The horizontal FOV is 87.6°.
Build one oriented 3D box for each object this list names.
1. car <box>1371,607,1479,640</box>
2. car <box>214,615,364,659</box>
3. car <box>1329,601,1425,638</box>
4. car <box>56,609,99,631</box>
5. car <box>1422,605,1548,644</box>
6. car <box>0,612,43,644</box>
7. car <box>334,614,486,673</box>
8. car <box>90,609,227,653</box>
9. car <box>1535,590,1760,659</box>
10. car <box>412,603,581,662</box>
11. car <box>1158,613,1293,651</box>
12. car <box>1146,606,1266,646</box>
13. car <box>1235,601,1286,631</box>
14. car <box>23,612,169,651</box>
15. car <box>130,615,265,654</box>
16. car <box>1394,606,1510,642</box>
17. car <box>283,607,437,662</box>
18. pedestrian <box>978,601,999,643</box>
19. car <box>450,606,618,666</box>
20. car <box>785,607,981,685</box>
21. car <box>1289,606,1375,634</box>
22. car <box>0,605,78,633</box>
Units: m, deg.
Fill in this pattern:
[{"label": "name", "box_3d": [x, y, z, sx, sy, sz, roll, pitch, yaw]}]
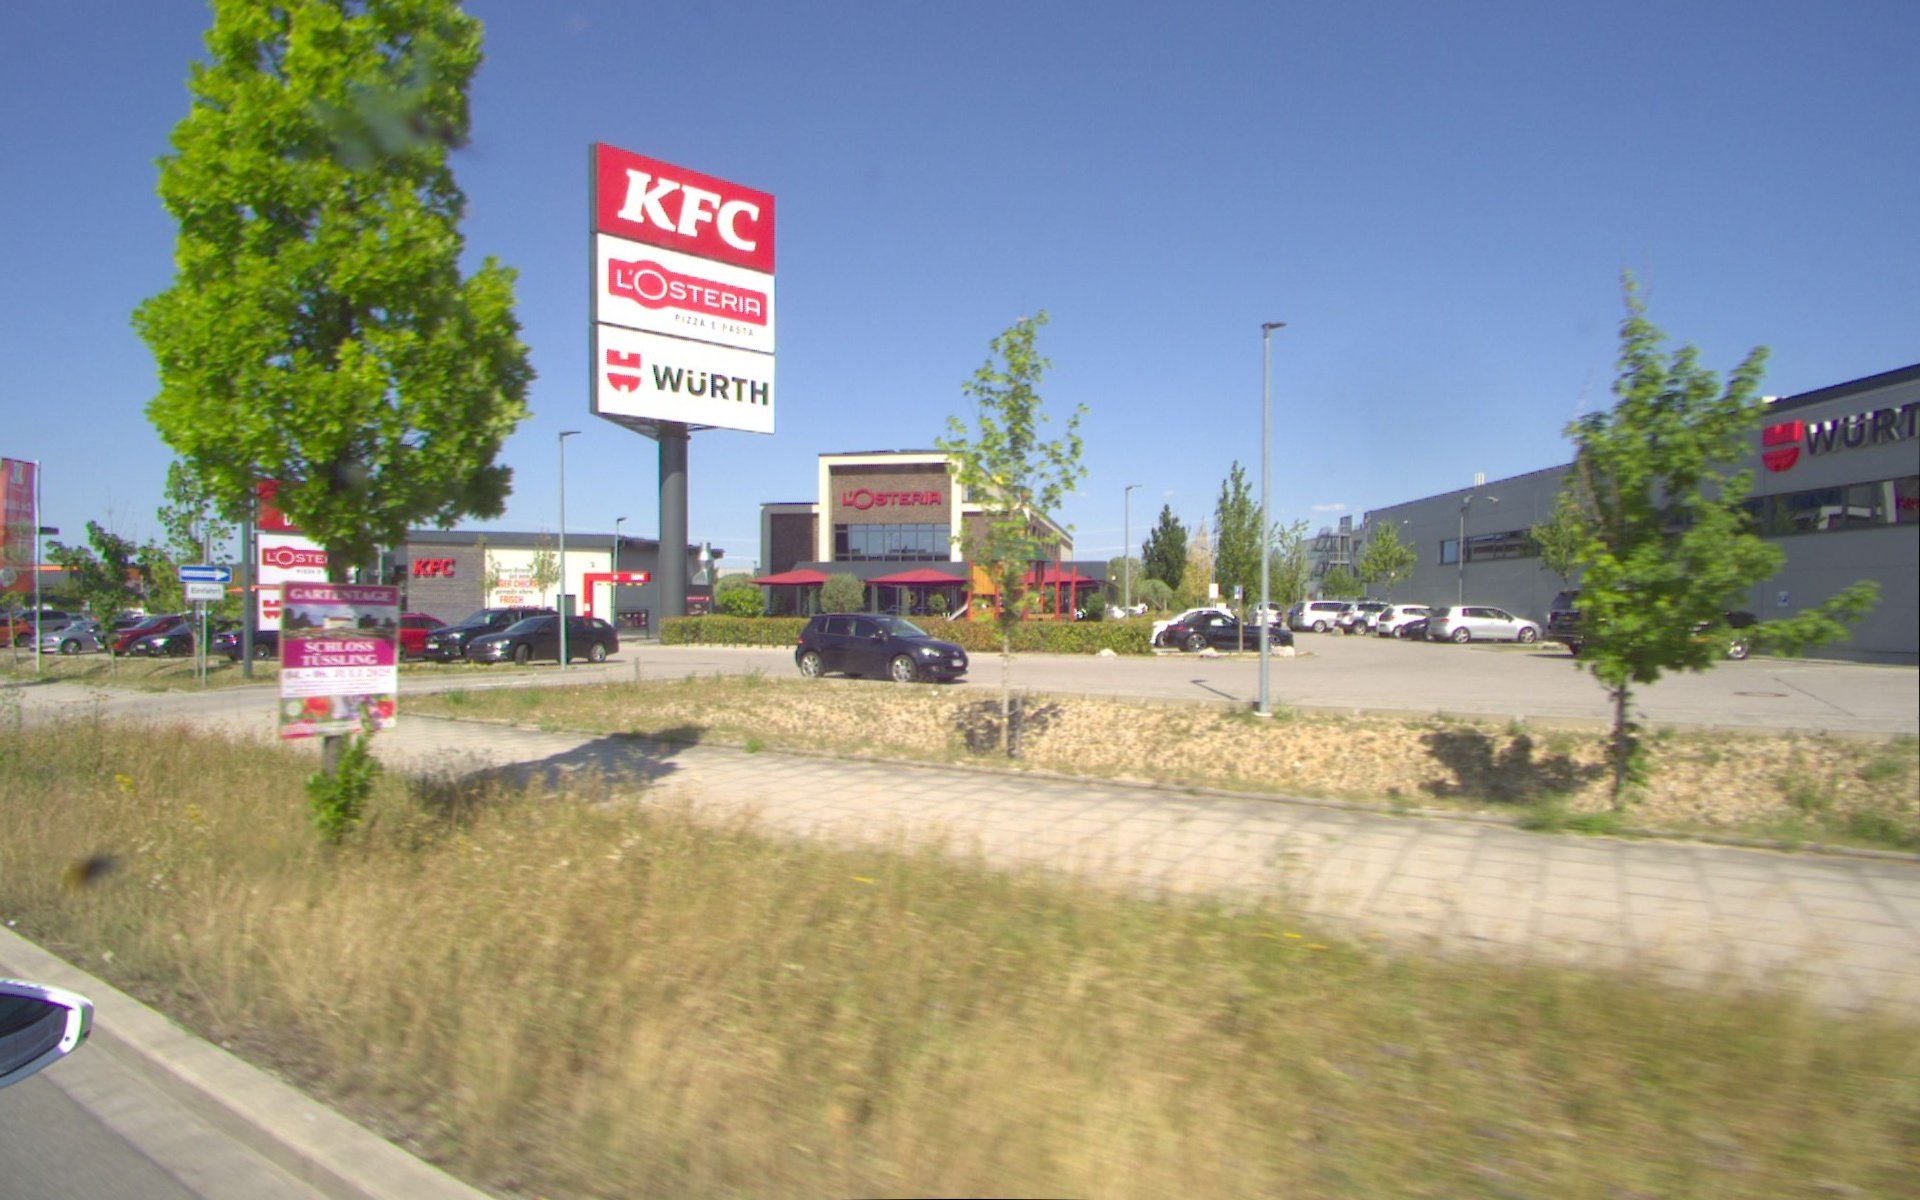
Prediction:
[{"label": "car", "box_3d": [20.797, 1.051, 44.903, 4.029, 1.481, 1.702, 0, 0, 1]}, {"label": "car", "box_3d": [-25.030, 1.327, 37.479, 1.770, 1.469, 4.384, 1, 1, 41]}, {"label": "car", "box_3d": [20.576, 0.960, 49.491, 4.029, 1.780, 1.702, 0, 0, 1]}, {"label": "car", "box_3d": [-60.757, 1.356, 69.007, 1.769, 1.470, 4.139, 0, 0, -36]}, {"label": "car", "box_3d": [20.566, 0.946, 39.317, 4.029, 1.481, 1.702, 0, 0, 1]}, {"label": "car", "box_3d": [-47.100, 1.356, 48.059, 1.835, 1.510, 4.210, 0, 0, 18]}, {"label": "car", "box_3d": [-18.622, 1.415, 34.151, 1.761, 1.758, 4.407, 1, 1, 23]}, {"label": "car", "box_3d": [-33.853, 1.267, 42.423, 1.838, 1.687, 4.153, 1, 1, 25]}, {"label": "car", "box_3d": [19.154, 0.674, 28.087, 4.828, 1.839, 2.049, 0, 0, 2]}, {"label": "car", "box_3d": [-15.236, 1.007, 33.243, 1.908, 1.758, 4.979, 1, 1, 27]}, {"label": "car", "box_3d": [8.772, 1.034, 33.307, 4.055, 1.228, 1.654, 0, 0, 0]}, {"label": "car", "box_3d": [9.329, 0.995, 38.189, 4.150, 1.491, 1.702, 0, 0, 0]}, {"label": "car", "box_3d": [19.445, 1.021, 65.081, 2.009, 1.839, 4.924, 0, 0, 2]}, {"label": "car", "box_3d": [-38.051, 1.341, 44.248, 1.837, 1.510, 4.558, 0, 1, 22]}, {"label": "car", "box_3d": [-31.465, 1.387, 41.482, 1.759, 1.469, 4.158, 0, 1, 19]}, {"label": "car", "box_3d": [20.604, 0.995, 42.029, 4.029, 1.481, 1.702, 0, 0, 1]}, {"label": "car", "box_3d": [-21.083, 1.158, 35.372, 1.764, 1.758, 4.401, 1, 1, 29]}, {"label": "pedestrian", "box_3d": [1.212, 0.938, 42.615, 0.806, 1.772, 0.518, 0, 0, 15]}, {"label": "car", "box_3d": [-12.624, 1.017, 29.957, 1.963, 1.587, 4.403, 1, 1, 27]}, {"label": "car", "box_3d": [-1.732, 0.949, 22.062, 4.110, 1.560, 1.776, 0, 0, 33]}, {"label": "car", "box_3d": [20.151, 1.064, 54.329, 4.029, 1.481, 1.702, 0, 0, 1]}, {"label": "car", "box_3d": [-57.501, 1.152, 62.016, 1.757, 1.657, 4.167, 0, 0, 10]}]
